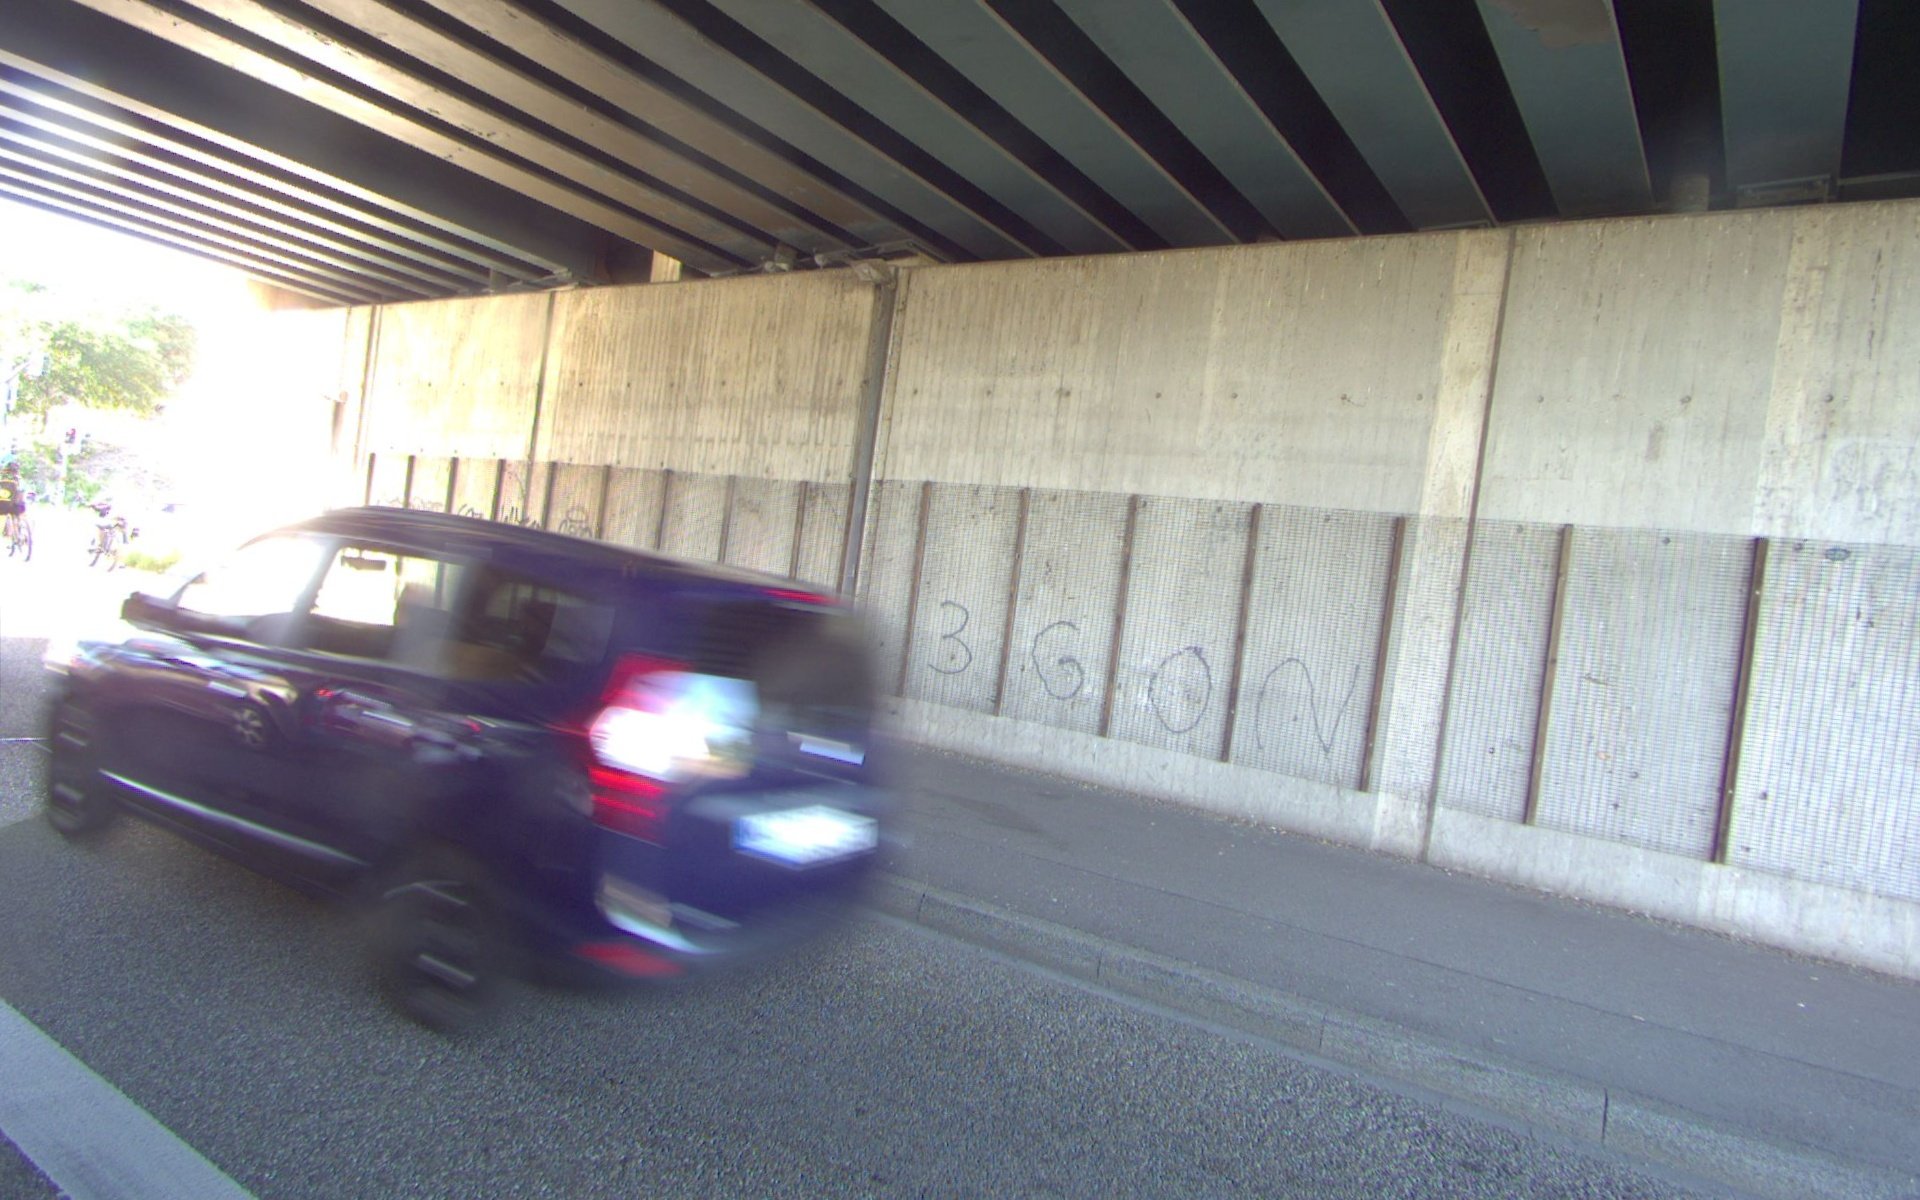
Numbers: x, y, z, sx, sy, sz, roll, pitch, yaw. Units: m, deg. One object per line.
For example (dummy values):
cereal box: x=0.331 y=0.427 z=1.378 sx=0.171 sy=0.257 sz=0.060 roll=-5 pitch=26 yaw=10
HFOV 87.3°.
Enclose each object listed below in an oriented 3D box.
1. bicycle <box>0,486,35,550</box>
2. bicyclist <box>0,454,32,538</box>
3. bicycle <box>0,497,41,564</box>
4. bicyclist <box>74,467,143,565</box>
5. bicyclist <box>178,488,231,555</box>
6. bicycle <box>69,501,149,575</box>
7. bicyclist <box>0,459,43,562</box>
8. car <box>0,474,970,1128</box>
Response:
bicycle: x=-18.733 y=-1.620 z=19.489 sx=0.645 sy=1.181 sz=1.766 roll=7 pitch=-1 yaw=-27
bicyclist: x=-18.723 y=-2.041 z=19.563 sx=0.647 sy=1.552 sz=0.841 roll=7 pitch=-1 yaw=-27
bicycle: x=-16.164 y=-1.200 z=17.020 sx=1.508 sy=1.036 sz=0.676 roll=6 pitch=-2 yaw=43
bicyclist: x=-14.779 y=-1.451 z=17.465 sx=0.724 sy=1.581 sz=0.669 roll=7 pitch=0 yaw=38
bicyclist: x=-20.650 y=-2.128 z=27.498 sx=0.738 sy=1.675 sz=0.883 roll=8 pitch=-1 yaw=-19
bicycle: x=-14.717 y=-1.076 z=17.388 sx=1.580 sy=1.126 sz=0.681 roll=6 pitch=0 yaw=38
bicyclist: x=-16.118 y=-1.520 z=17.025 sx=0.635 sy=1.647 sz=0.676 roll=6 pitch=-2 yaw=42
car: x=-2.226 y=0.501 z=4.474 sx=4.035 sy=1.619 sz=1.779 roll=6 pitch=-2 yaw=30
